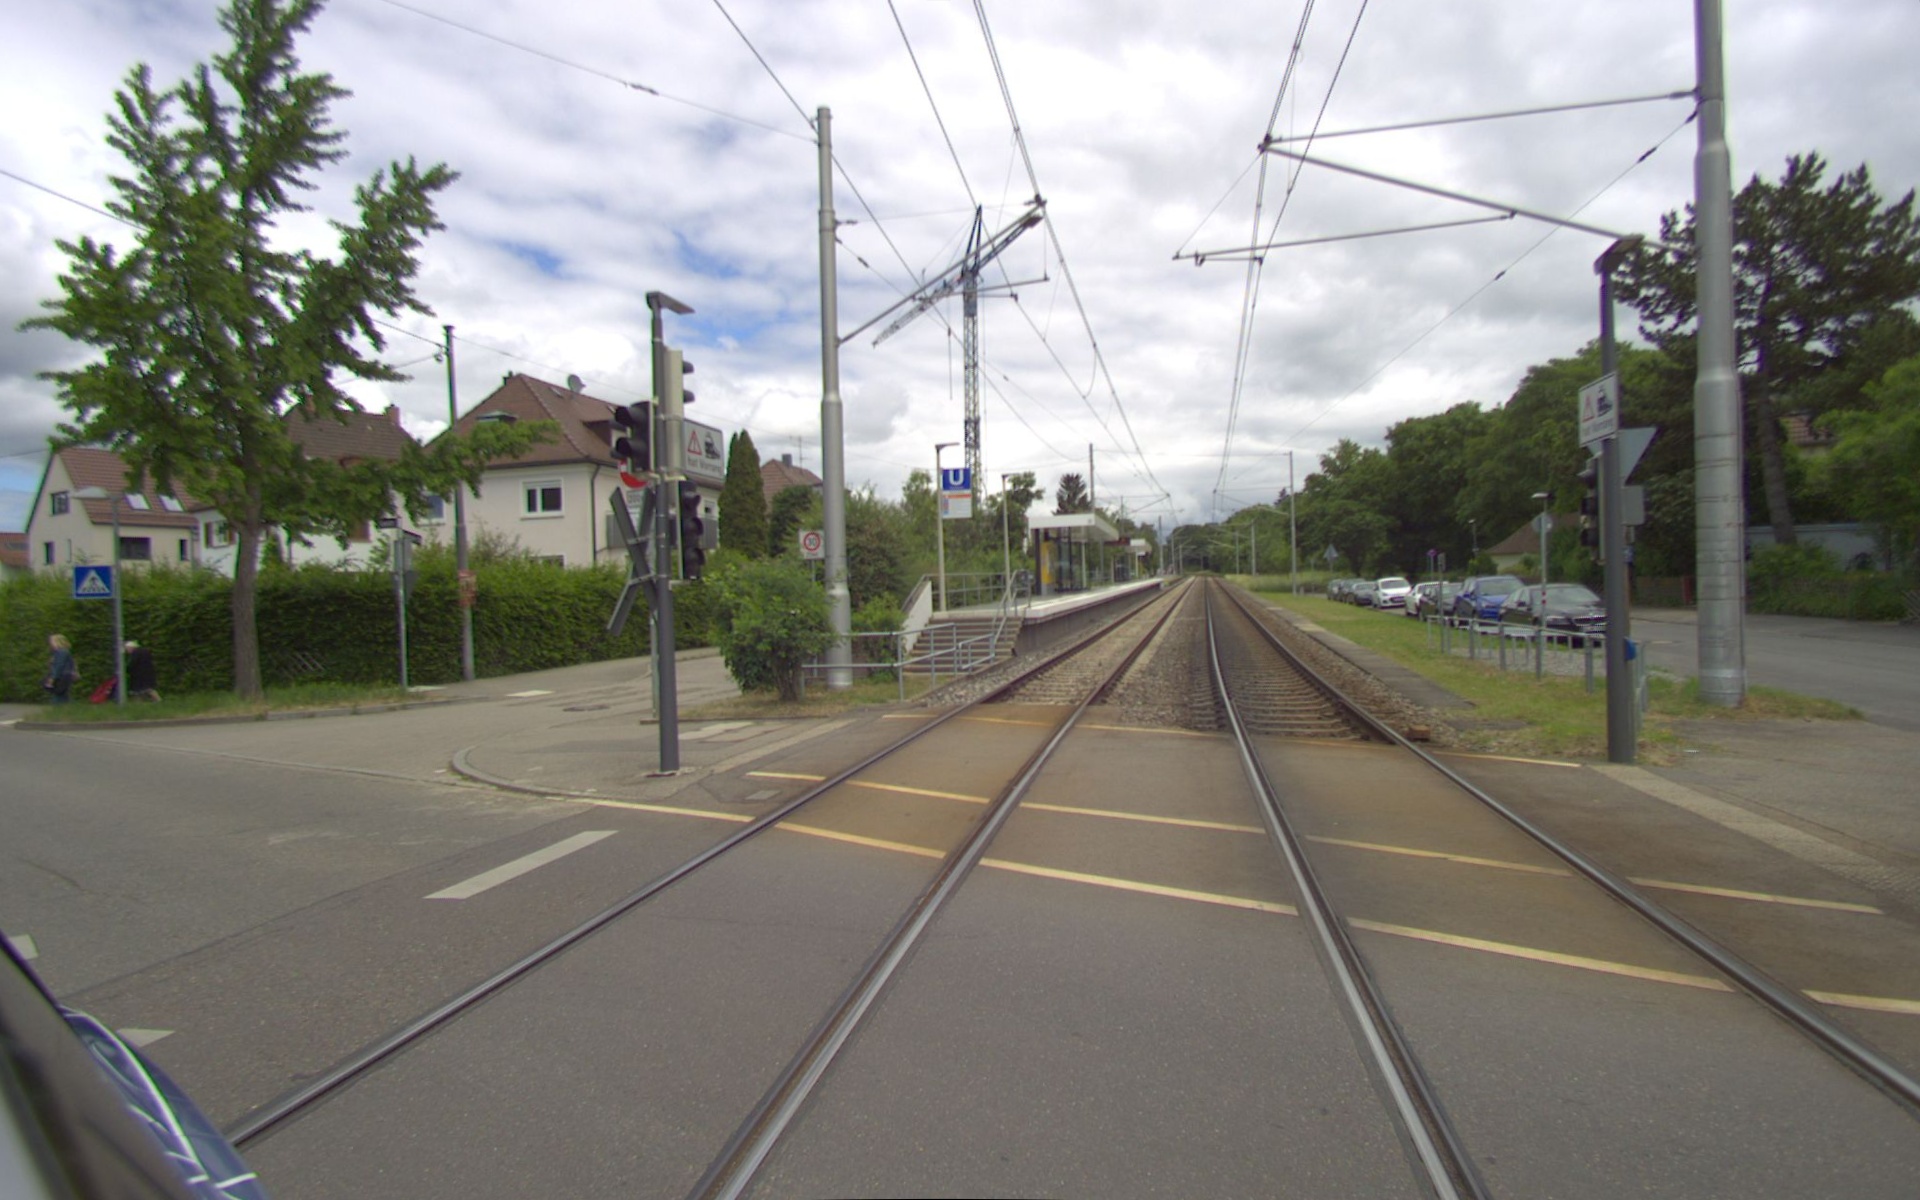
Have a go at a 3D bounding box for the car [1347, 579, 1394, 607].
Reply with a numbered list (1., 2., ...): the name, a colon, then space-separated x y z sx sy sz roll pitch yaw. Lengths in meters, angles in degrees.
1. car: 22.940 -0.392 56.662 1.837 1.386 3.981 -2 0 15

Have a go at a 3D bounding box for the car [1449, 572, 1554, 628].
1. car: 16.221 -0.015 30.544 1.837 1.492 3.981 -2 0 15

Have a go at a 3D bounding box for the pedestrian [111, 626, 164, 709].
1. pedestrian: -17.047 1.381 20.992 0.588 1.632 0.680 -4 1 -22

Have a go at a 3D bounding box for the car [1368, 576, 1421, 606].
1. car: 22.063 -0.449 51.562 1.837 1.386 3.981 -2 0 15

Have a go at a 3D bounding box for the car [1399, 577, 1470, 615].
1. car: 19.171 -0.172 41.042 1.837 1.386 3.981 -2 0 15

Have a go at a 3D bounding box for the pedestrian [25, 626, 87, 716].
1. pedestrian: -17.342 1.350 19.433 0.588 1.632 0.680 -4 1 -22

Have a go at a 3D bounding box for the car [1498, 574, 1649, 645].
1. car: 14.703 0.196 24.516 1.804 1.513 4.103 -2 0 12

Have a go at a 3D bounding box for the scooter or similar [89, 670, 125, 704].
1. scooter or similar: -17.449 1.775 20.708 0.393 0.614 0.490 -4 2 -22

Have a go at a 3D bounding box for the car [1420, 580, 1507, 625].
1. car: 17.298 0.069 34.961 1.837 1.386 3.981 -2 0 15
